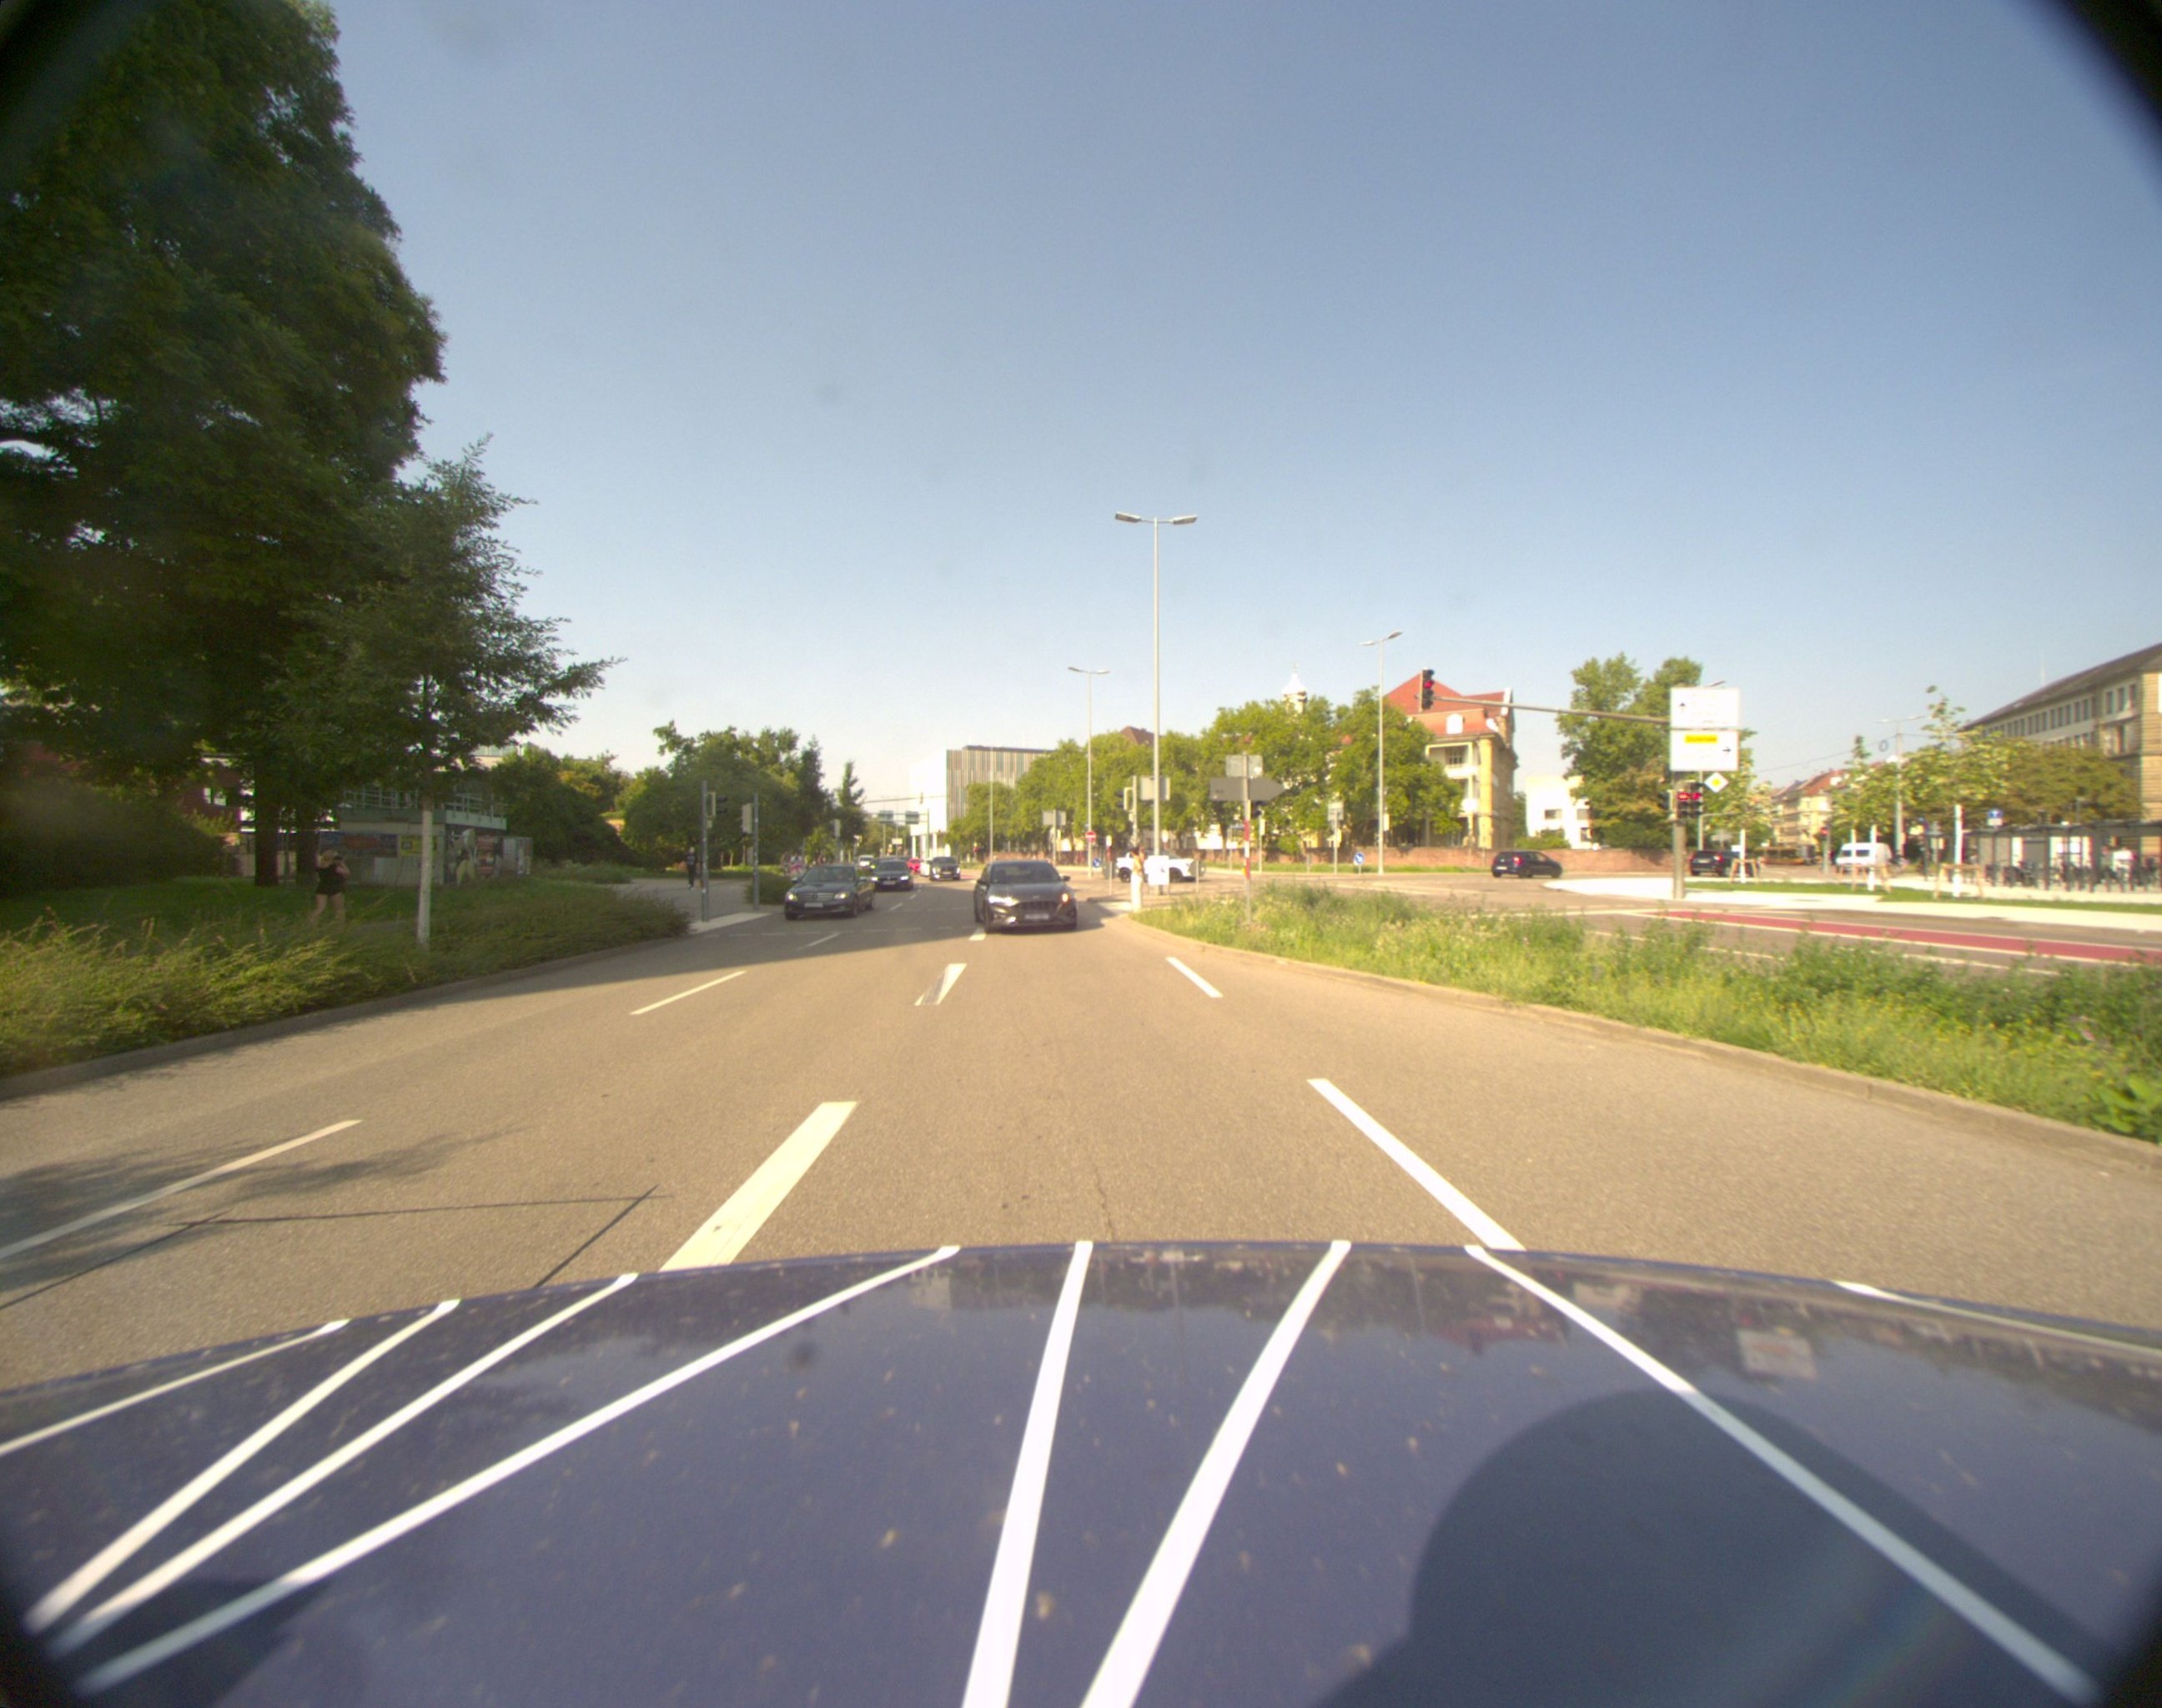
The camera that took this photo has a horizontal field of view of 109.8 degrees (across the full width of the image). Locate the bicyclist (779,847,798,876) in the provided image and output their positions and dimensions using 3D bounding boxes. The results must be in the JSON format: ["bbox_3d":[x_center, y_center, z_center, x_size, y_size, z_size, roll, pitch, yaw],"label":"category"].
[{"bbox_3d":[-16.358,0.406,42.500,0.773,1.584,0.923,-1,1,-9],"label":"bicyclist"}]

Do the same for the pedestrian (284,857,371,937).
[{"bbox_3d":[-13.945,0.774,14.088,0.726,1.435,0.857,0,1,2],"label":"pedestrian"}]

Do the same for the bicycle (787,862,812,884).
[{"bbox_3d":[-15.122,0.998,40.833,0.773,1.111,2.302,0,0,-8],"label":"bicycle"}]

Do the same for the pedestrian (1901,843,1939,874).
[{"bbox_3d":[54.565,0.300,49.398,1.344,2.002,1.210,0,0,-18],"label":"pedestrian"}]

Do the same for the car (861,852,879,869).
[{"bbox_3d":[-25.113,0.741,90.416,1.690,1.930,4.364,0,0,-21],"label":"car"}]

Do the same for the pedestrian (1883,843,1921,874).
[{"bbox_3d":[52.737,0.283,48.806,1.344,2.002,1.210,0,0,-18],"label":"pedestrian"}]

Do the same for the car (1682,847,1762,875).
[{"bbox_3d":[39.103,0.386,46.354,4.377,1.624,1.996,0,0,-23],"label":"car"}]

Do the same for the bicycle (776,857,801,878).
[{"bbox_3d":[-16.361,0.745,42.540,0.773,1.111,2.302,-1,0,-8],"label":"bicycle"}]

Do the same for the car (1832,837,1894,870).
[{"bbox_3d":[64.614,-0.066,62.758,5.558,2.437,1.996,-3,1,-27],"label":"car"}]

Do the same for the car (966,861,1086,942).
[{"bbox_3d":[-1.353,0.891,16.408,1.839,1.427,4.544,-1,0,-14],"label":"car"}]

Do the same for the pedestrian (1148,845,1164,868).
[{"bbox_3d":[6.883,0.212,69.560,1.080,2.002,1.316,-1,1,-15],"label":"pedestrian"}]

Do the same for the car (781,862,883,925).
[{"bbox_3d":[-6.780,1.000,21.134,1.687,1.434,4.370,-2,0,-5],"label":"car"}]

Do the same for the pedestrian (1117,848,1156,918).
[{"bbox_3d":[1.347,0.690,18.497,0.667,1.644,0.780,0,1,30],"label":"pedestrian"}]

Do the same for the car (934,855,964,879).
[{"bbox_3d":[-8.658,0.817,49.603,1.689,1.483,4.367,0,0,-13],"label":"car"}]

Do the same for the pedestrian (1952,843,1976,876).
[{"bbox_3d":[53.842,0.330,46.325,1.009,2.002,0.860,0,1,-35],"label":"pedestrian"}]

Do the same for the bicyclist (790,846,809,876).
[{"bbox_3d":[-15.135,0.357,40.916,0.773,1.583,0.923,0,0,-8],"label":"bicyclist"}]

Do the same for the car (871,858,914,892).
[{"bbox_3d":[-8.893,0.953,36.092,1.688,1.483,4.668,0,0,-10],"label":"car"}]

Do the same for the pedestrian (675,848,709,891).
[{"bbox_3d":[-16.279,0.639,31.841,0.961,1.772,1.002,2,0,-9],"label":"pedestrian"}]

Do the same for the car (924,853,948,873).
[{"bbox_3d":[-11.397,0.659,59.485,1.784,1.474,4.528,0,0,-12],"label":"car"}]

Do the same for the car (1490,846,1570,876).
[{"bbox_3d":[22.982,0.332,38.913,3.855,1.489,1.622,0,1,-25],"label":"car"}]

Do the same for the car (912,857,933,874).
[{"bbox_3d":[-14.680,1.014,70.065,1.689,1.483,4.366,0,0,-14],"label":"car"}]

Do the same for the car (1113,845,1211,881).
[{"bbox_3d":[3.997,0.484,37.819,4.360,1.623,2.004,-3,-2,35],"label":"car"}]

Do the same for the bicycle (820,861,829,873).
[{"bbox_3d":[-24.933,1.296,73.716,0.774,1.111,2.299,-1,0,-20],"label":"bicycle"}]

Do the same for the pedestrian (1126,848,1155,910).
[{"bbox_3d":[1.641,0.671,21.086,0.668,1.689,0.691,0,1,-6],"label":"pedestrian"}]

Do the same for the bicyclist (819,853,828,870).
[{"bbox_3d":[-24.923,0.706,73.650,0.774,1.666,0.922,-1,1,-20],"label":"bicyclist"}]
